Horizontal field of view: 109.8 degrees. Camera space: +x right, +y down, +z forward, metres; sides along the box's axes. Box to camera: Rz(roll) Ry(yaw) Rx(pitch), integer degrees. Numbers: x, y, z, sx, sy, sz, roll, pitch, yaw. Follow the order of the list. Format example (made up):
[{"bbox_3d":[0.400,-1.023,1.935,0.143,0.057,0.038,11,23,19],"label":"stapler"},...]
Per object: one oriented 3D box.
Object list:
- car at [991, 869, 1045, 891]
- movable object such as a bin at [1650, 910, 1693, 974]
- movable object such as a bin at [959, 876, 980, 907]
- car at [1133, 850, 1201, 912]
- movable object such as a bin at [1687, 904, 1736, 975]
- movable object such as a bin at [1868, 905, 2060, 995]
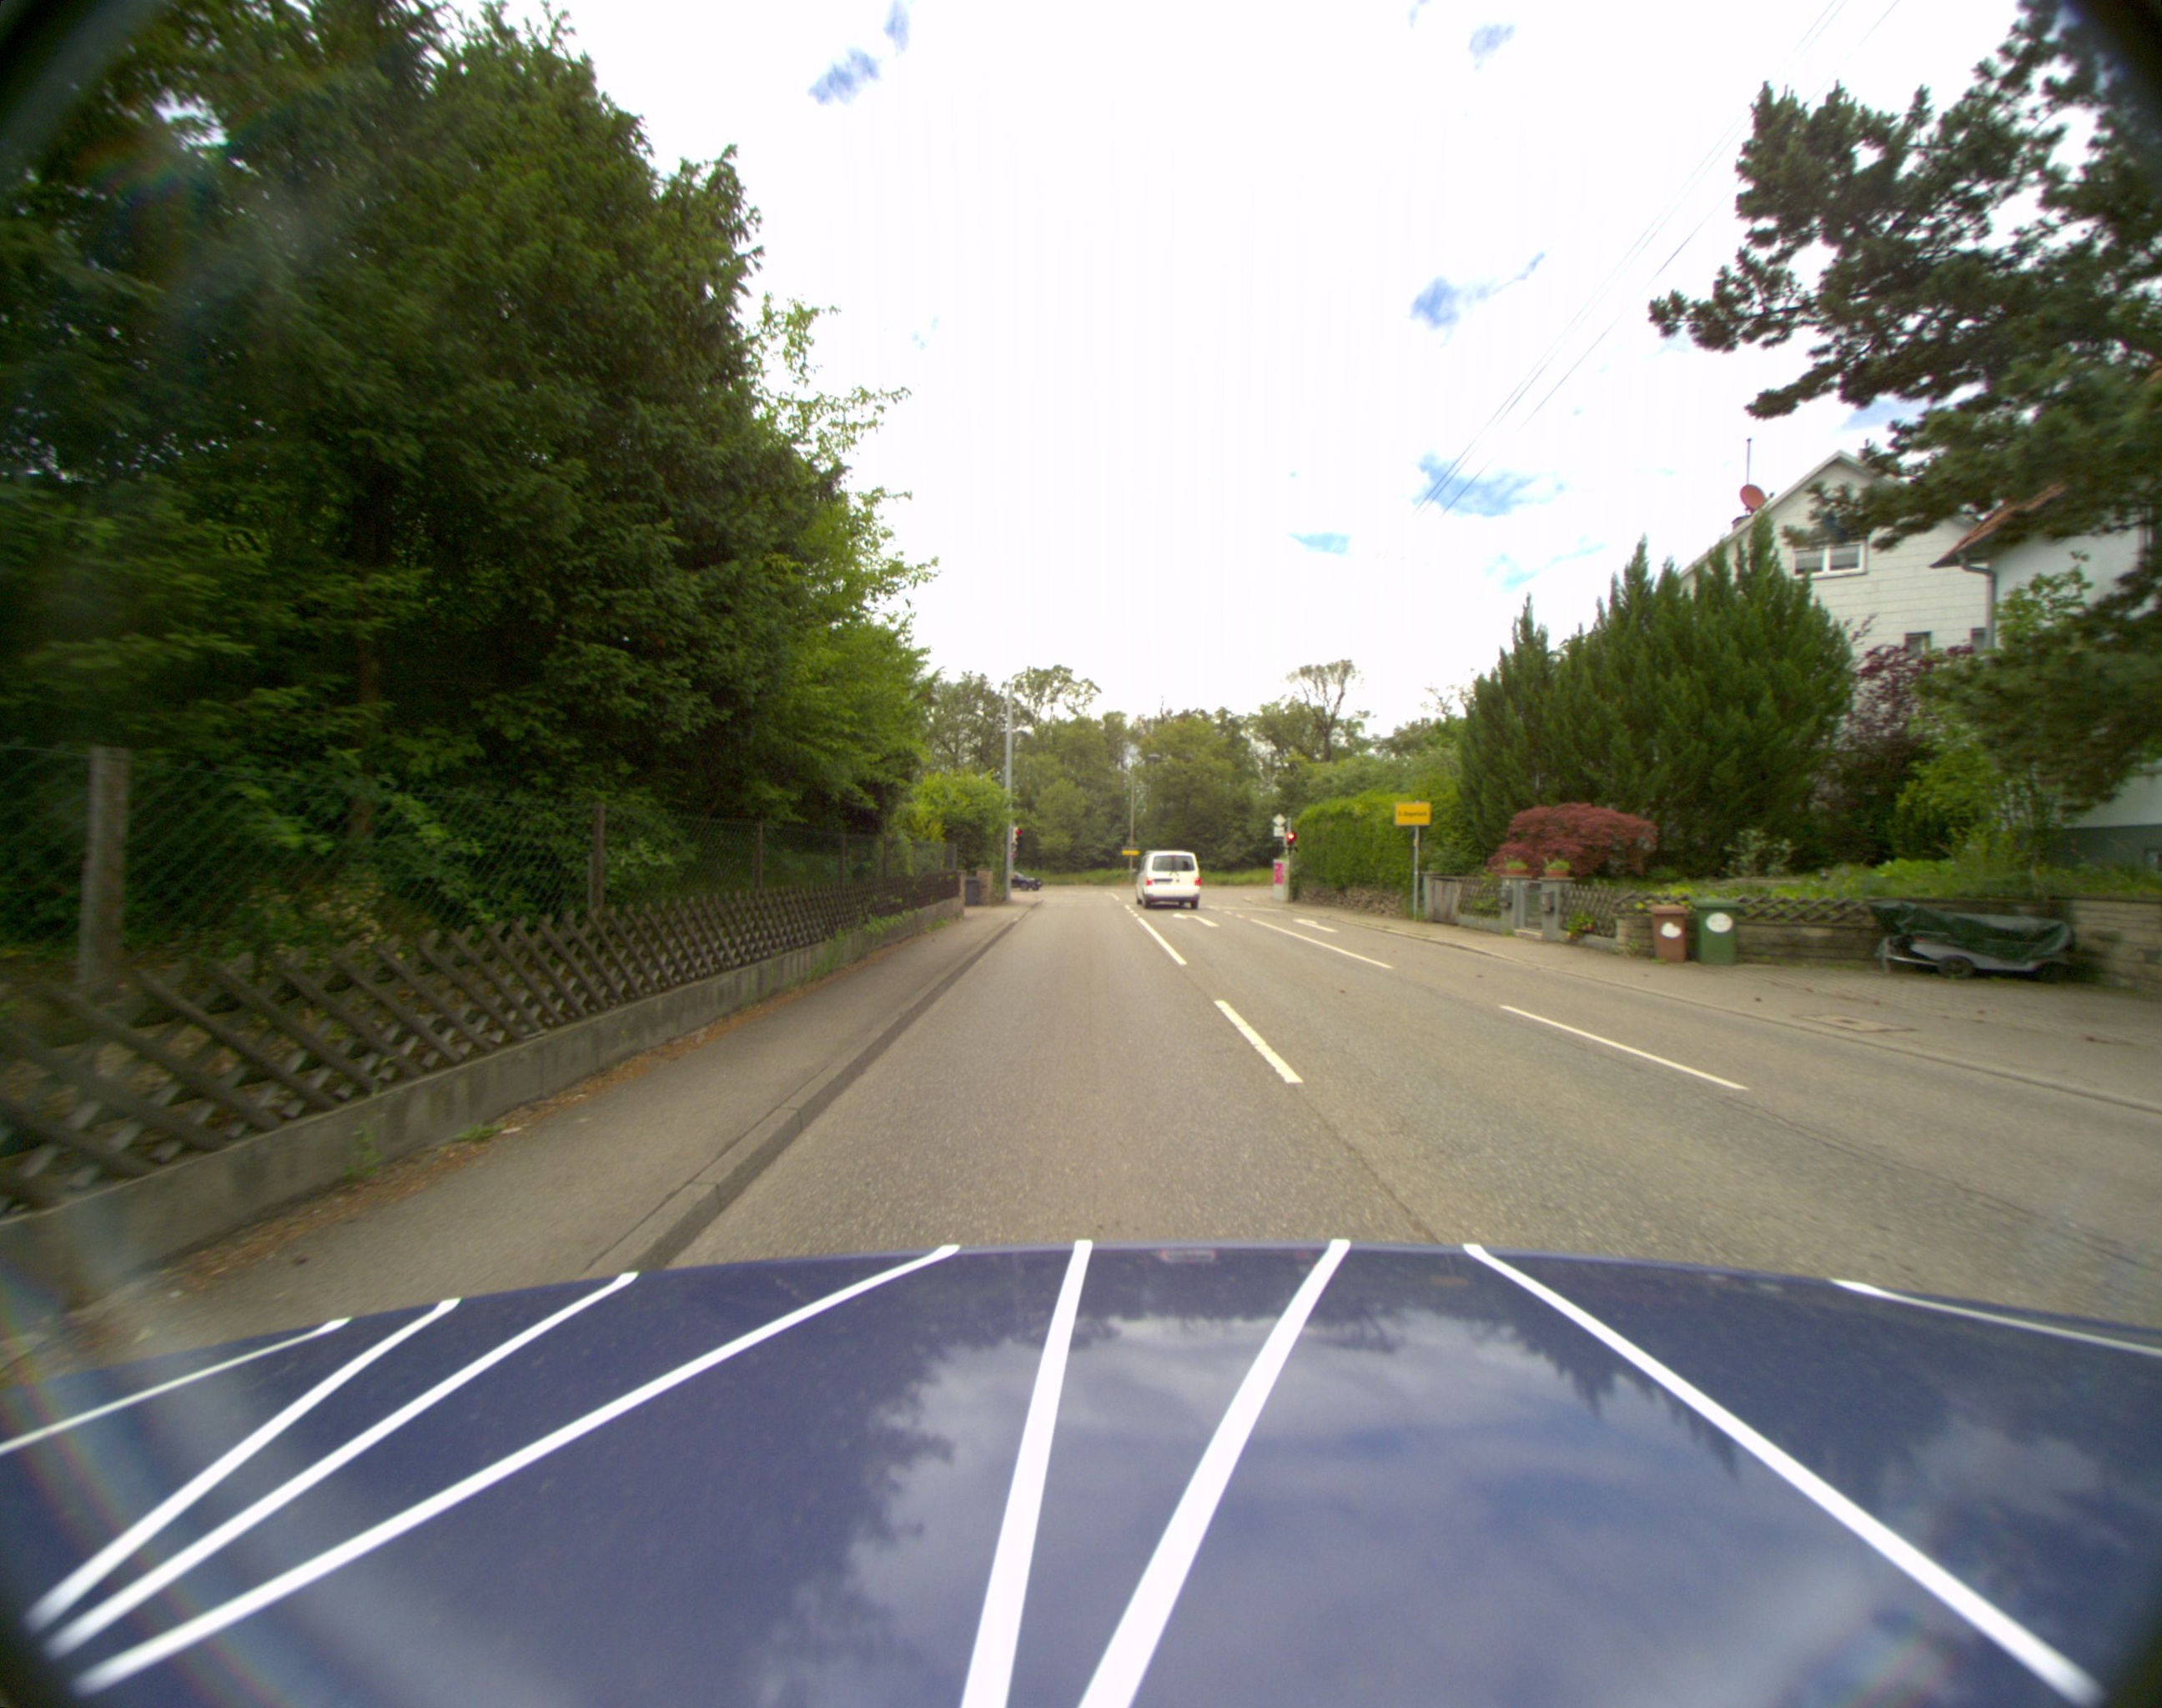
[{"bbox_3d":[-4.737,1.933,57.074,3.655,1.585,1.667,0,0,26],"label":"car"},{"bbox_3d":[9.526,1.404,12.275,0.464,0.936,0.648,0,0,29],"label":"movable object such as a bin"},{"bbox_3d":[-3.864,1.304,26.354,0.541,1.039,0.508,2,-1,-27],"label":"movable object such as a bin"},{"bbox_3d":[3.042,0.938,27.859,1.863,2.035,5.172,1,-1,0],"label":"car"},{"bbox_3d":[9.952,1.335,12.011,0.479,1.028,0.717,0,0,29],"label":"movable object such as a bin"},{"bbox_3d":[12.132,1.285,10.520,1.593,1.074,0.718,-1,0,32],"label":"movable object such as a bin"}]
